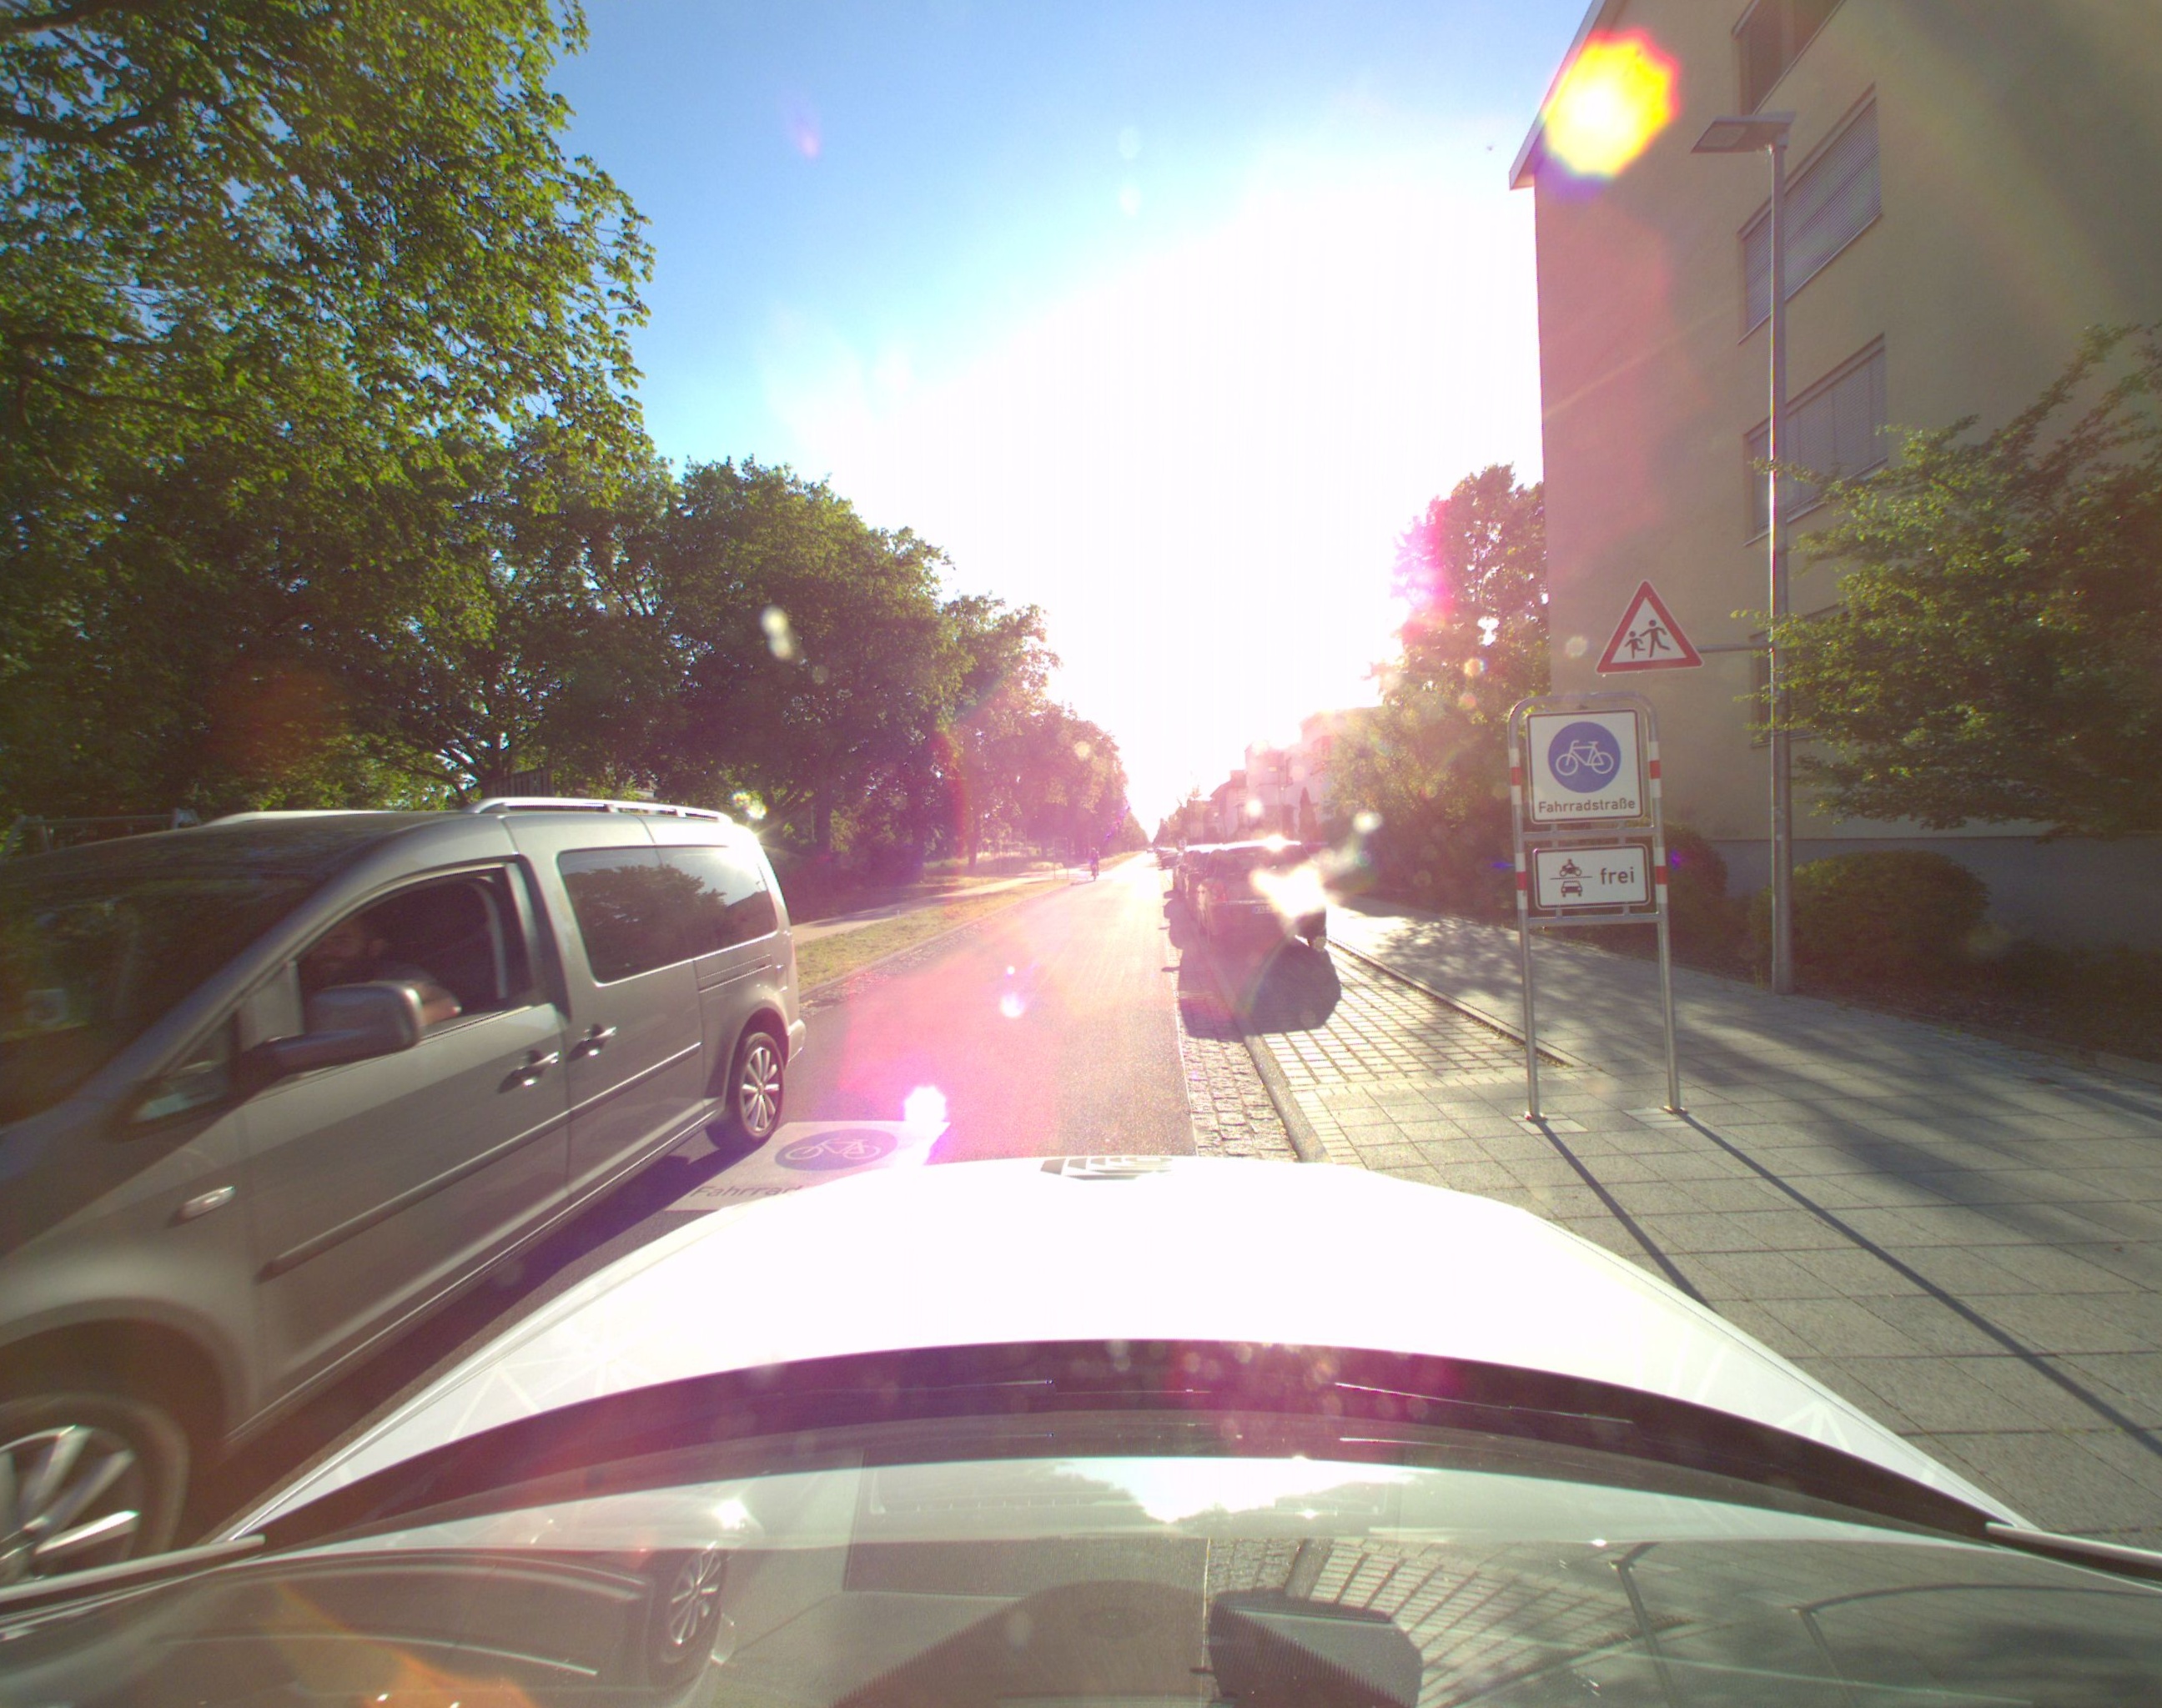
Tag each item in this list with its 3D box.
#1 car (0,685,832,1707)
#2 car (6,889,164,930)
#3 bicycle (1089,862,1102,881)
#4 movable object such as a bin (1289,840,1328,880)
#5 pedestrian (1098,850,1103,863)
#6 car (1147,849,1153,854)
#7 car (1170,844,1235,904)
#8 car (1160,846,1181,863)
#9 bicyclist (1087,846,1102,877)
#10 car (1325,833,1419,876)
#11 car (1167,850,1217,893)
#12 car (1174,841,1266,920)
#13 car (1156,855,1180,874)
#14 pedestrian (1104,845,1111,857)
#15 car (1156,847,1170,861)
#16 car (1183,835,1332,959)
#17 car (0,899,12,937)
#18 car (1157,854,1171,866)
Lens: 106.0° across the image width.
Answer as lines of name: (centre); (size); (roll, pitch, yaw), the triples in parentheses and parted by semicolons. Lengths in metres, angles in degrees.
car: (-2.730, 0.674, 2.997); (1.835, 1.847, 4.578); (-3, 0, 4)
car: (-40.000, 2.194, 32.849); (1.514, 1.367, 3.759); (-1, 0, 6)
bicycle: (0.816, 0.969, 45.255); (0.554, 1.032, 1.917); (-3, -1, 5)
movable object such as a bin: (8.594, 0.219, 30.799); (1.230, 1.432, 1.125); (-2, 0, 7)
pedestrian: (2.761, 0.367, 115.365); (0.620, 1.831, 0.888); (-2, 0, 8)
car: (20.783, -0.699, 245.460); (1.644, 1.541, 3.271); (-1, 0, 5)
car: (3.577, 0.532, 24.523); (1.670, 1.555, 4.137); (-3, 0, 6)
car: (8.566, 0.011, 78.169); (1.736, 1.474, 3.926); (-5, 0, 4)
bicyclist: (0.732, 0.406, 45.236); (0.678, 1.673, 1.174); (-3, -1, 4)
car: (12.051, 0.039, 33.902); (3.469, 1.641, 1.649); (-2, 0, 12)
car: (4.026, 0.592, 30.016); (1.556, 1.390, 4.381); (-3, 0, 5)
car: (3.148, 0.542, 19.130); (1.671, 1.555, 4.150); (-3, 0, 5)
car: (7.131, 0.834, 66.841); (1.766, 1.288, 4.279); (-5, 1, 5)
pedestrian: (3.767, -0.437, 115.405); (0.778, 1.614, 0.954); (-2, 0, 8)
car: (9.912, -0.047, 98.662); (1.619, 1.504, 3.639); (-4, 0, 6)
car: (2.706, 0.586, 13.377); (1.703, 1.610, 4.173); (-4, 0, 4)
car: (-40.678, 2.397, 28.442); (1.514, 1.367, 3.759); (-1, 0, 6)
car: (11.725, 0.826, 114.605); (1.729, 1.449, 4.201); (-4, -1, 4)
